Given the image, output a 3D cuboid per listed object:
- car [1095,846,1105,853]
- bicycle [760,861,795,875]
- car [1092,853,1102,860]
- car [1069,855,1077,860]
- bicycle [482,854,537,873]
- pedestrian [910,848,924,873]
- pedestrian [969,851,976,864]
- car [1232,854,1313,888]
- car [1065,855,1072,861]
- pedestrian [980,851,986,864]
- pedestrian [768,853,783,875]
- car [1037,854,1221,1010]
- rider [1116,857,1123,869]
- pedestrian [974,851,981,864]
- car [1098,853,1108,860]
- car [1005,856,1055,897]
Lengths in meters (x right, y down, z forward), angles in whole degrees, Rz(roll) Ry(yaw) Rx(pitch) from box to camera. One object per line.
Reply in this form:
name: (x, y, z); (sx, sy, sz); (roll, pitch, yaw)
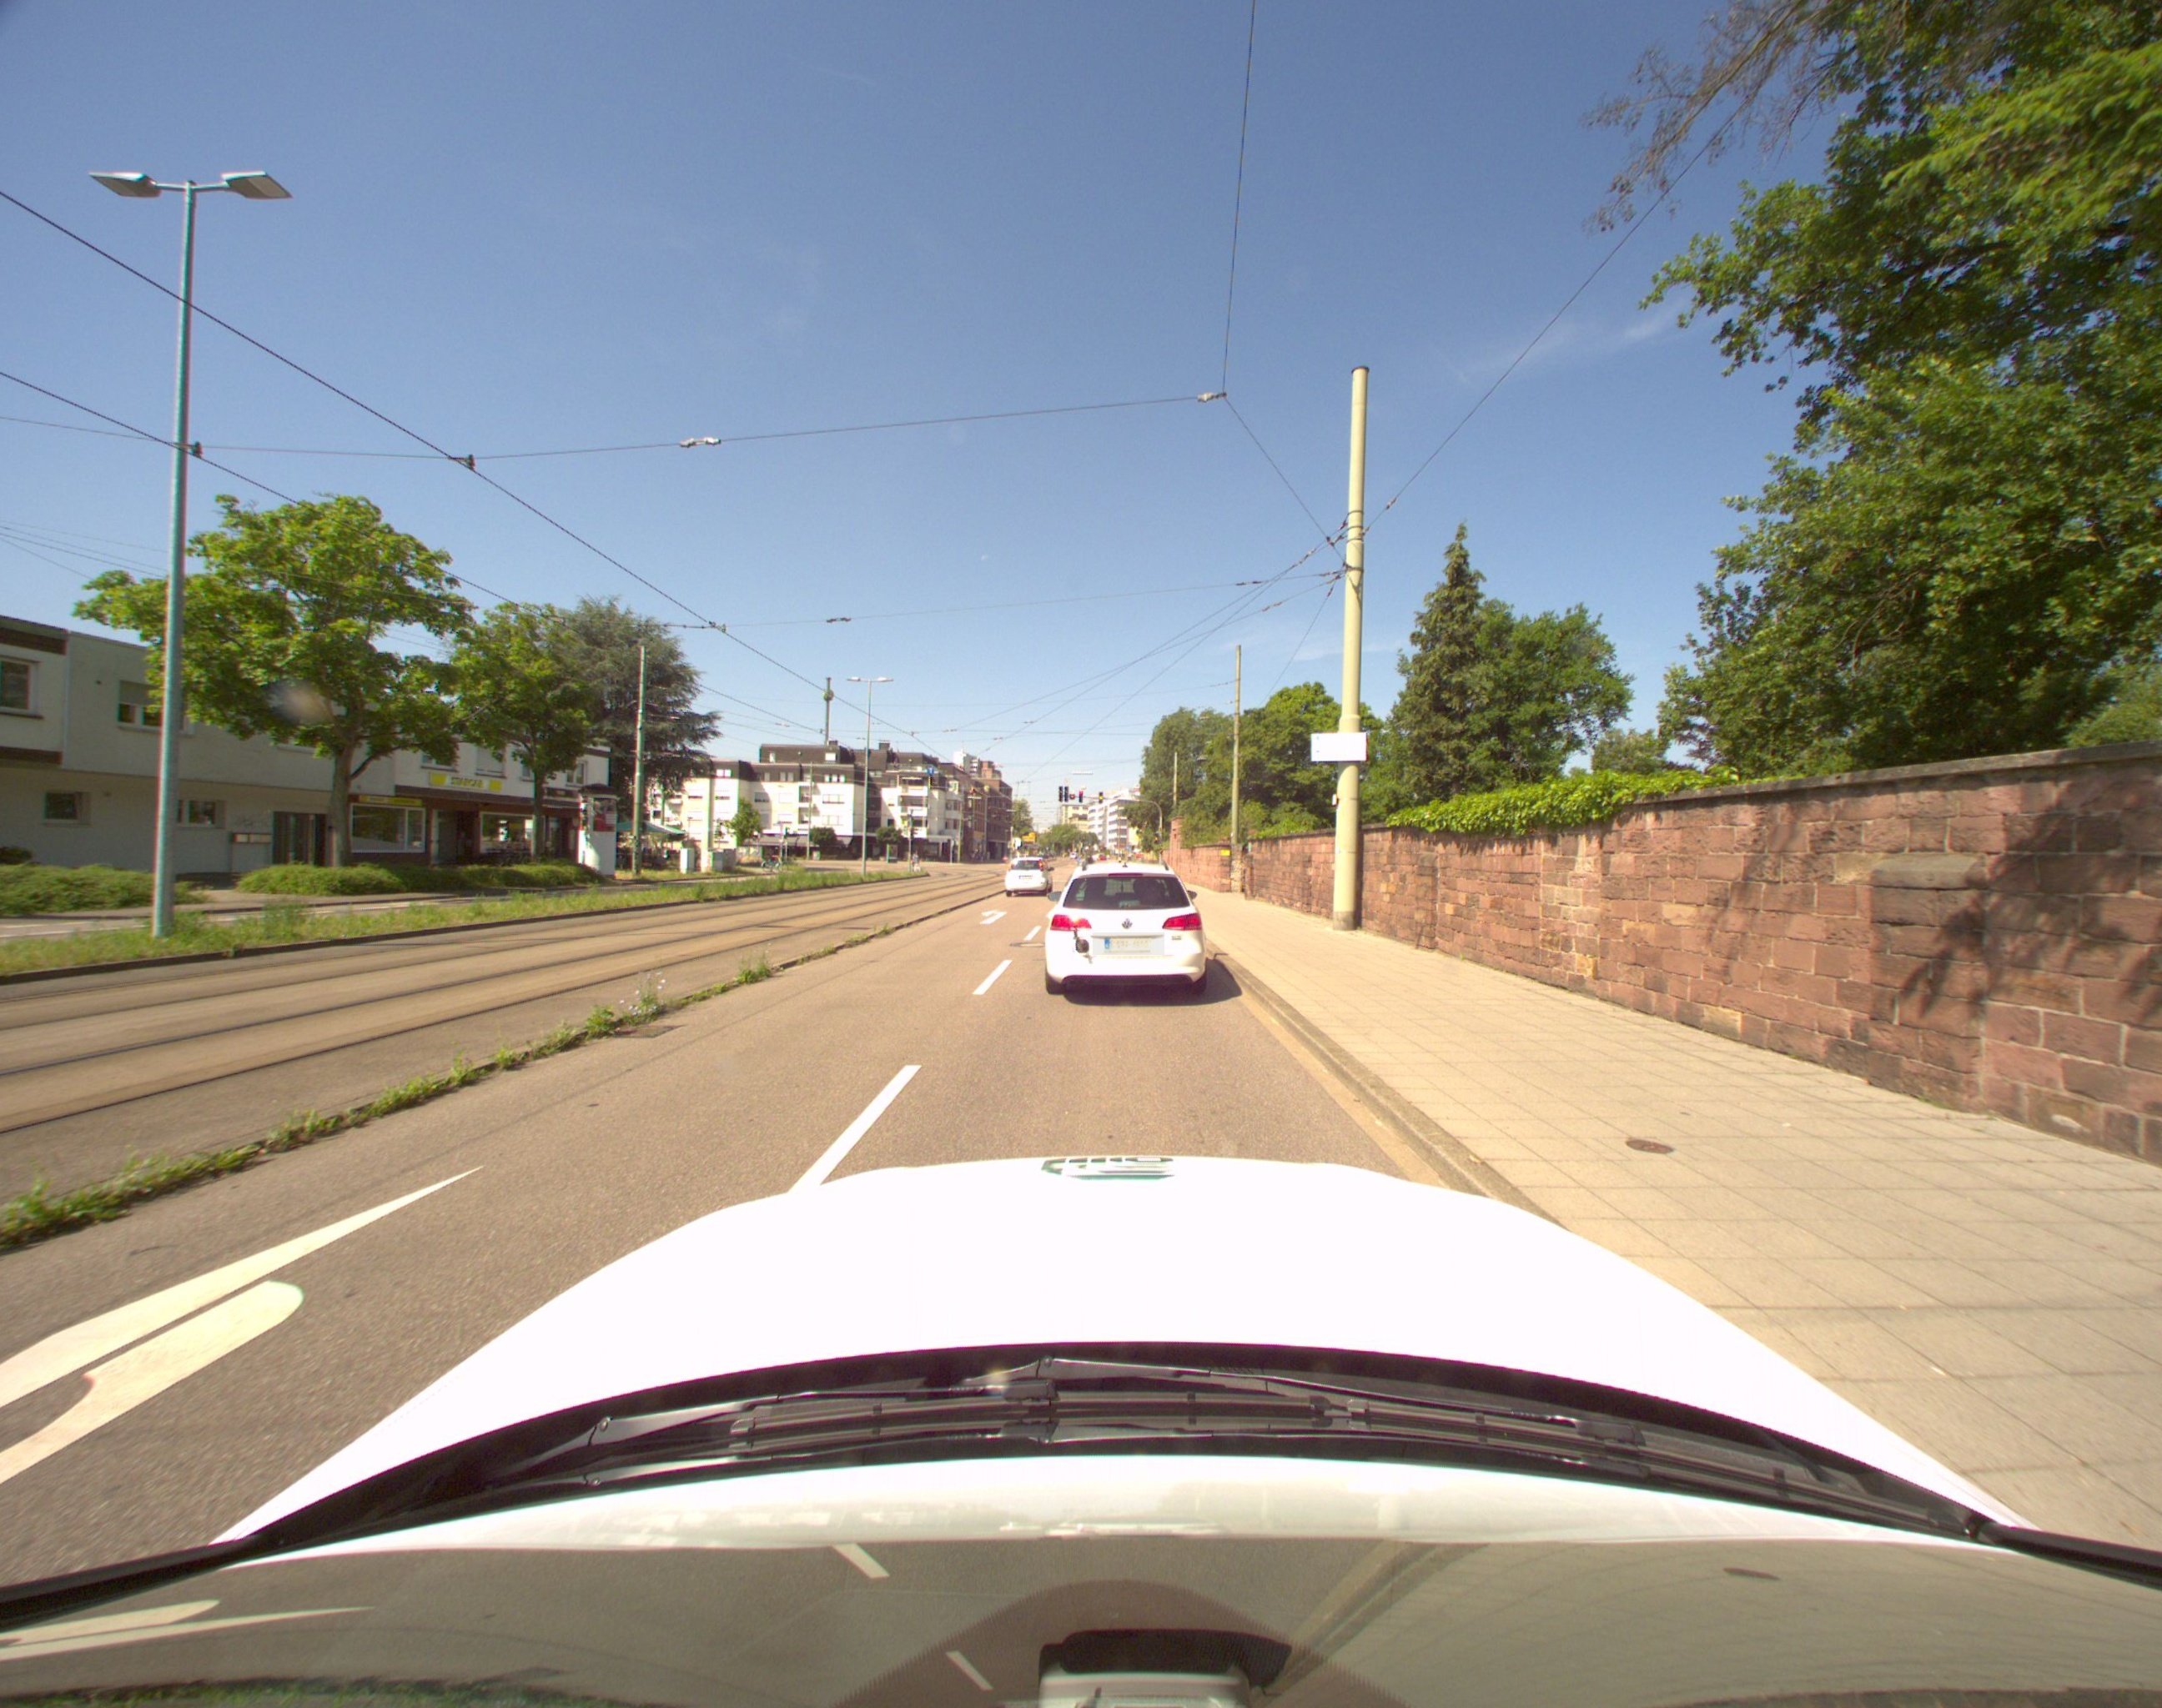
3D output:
car: (5.793, -1.292, 249.043); (1.995, 2.013, 3.984); (1, 0, -12)
bicycle: (-20.720, 0.943, 55.568); (2.189, 0.921, 0.547); (1, 0, -42)
car: (4.384, 0.640, 222.255); (1.993, 1.904, 3.987); (1, 0, -9)
car: (-2.381, 1.071, 239.516); (1.698, 1.591, 3.524); (1, 0, -9)
bicycle: (-26.776, 0.436, 38.205); (0.780, 0.888, 2.392); (1, 0, 2)
pedestrian: (-11.493, 0.435, 57.172); (0.825, 1.739, 0.930); (1, 0, -6)
pedestrian: (-16.460, 0.495, 123.167); (0.934, 2.014, 0.990); (1, 0, -2)
car: (8.724, 0.765, 37.280); (3.395, 1.464, 1.525); (1, 0, 1)
car: (-3.075, 0.951, 207.827); (1.692, 1.591, 3.535); (0, 0, 1)
pedestrian: (-15.499, 0.513, 128.682); (0.935, 2.014, 0.989); (1, 0, -4)
pedestrian: (-21.010, 0.671, 56.063); (0.820, 1.487, 0.559); (1, -1, -42)
car: (0.554, 0.775, 9.955); (1.772, 1.490, 3.849); (-2, 0, 2)
rider: (5.531, 1.260, 116.872); (0.887, 1.728, 2.205); (1, 0, 2)
pedestrian: (-16.312, 0.503, 128.509); (0.935, 2.014, 0.989); (1, 0, -4)
car: (6.237, 0.815, 234.518); (1.995, 2.013, 3.984); (1, 0, -12)
car: (-2.047, 0.893, 33.767); (1.724, 1.596, 4.011); (0, 0, 1)
